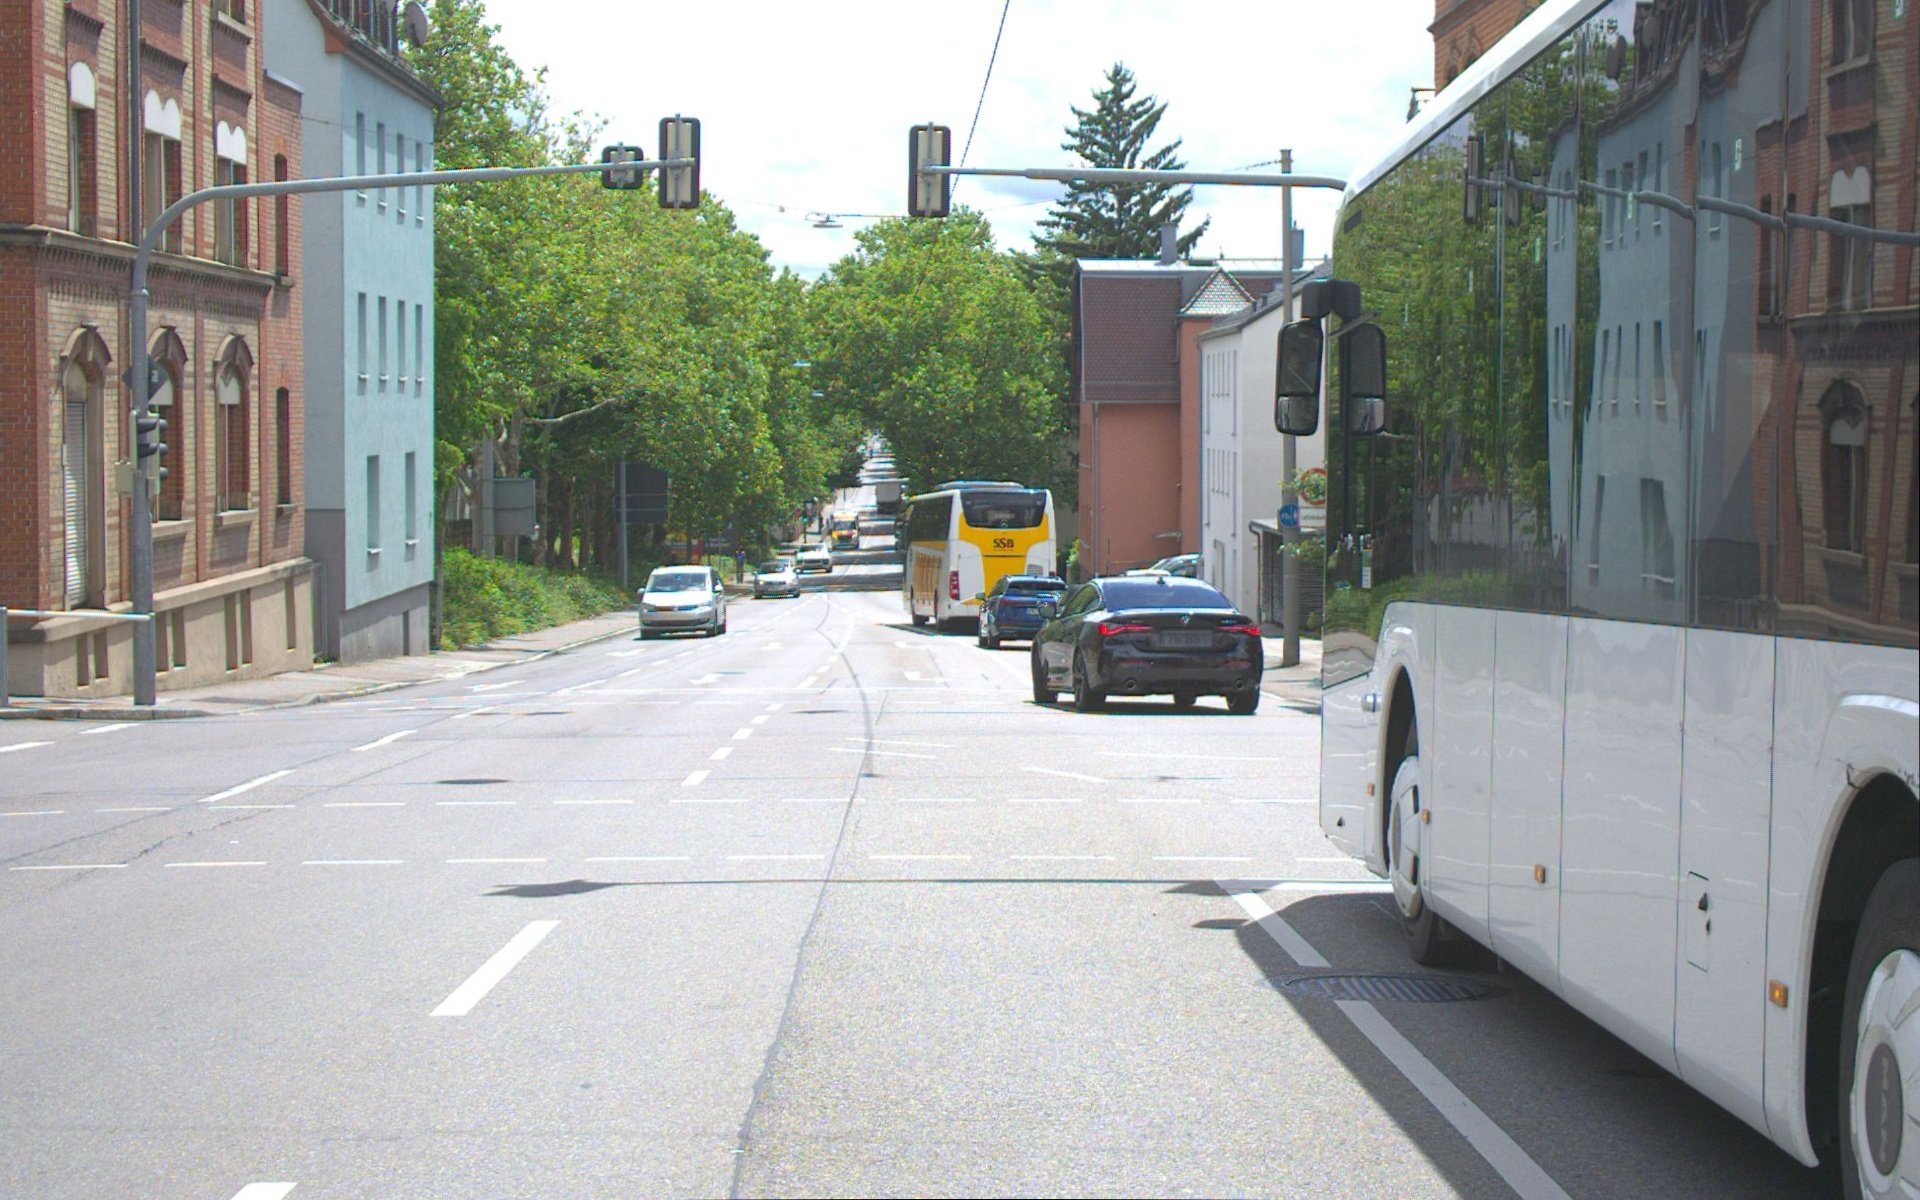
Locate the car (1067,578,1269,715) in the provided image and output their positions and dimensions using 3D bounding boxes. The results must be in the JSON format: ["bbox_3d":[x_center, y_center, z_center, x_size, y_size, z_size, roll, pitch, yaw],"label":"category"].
[{"bbox_3d":[2.103,0.443,35.708,1.797,1.271,4.000,-1,1,-1],"label":"car"}]

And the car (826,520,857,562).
[{"bbox_3d":[-8.834,-4.405,257.042,2.141,3.059,5.627,1,1,-1],"label":"car"}]

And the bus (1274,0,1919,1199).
[{"bbox_3d":[2.967,-0.242,9.268,2.904,3.498,12.488,1,1,-1],"label":"bus"}]

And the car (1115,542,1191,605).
[{"bbox_3d":[5.215,-0.733,93.321,1.767,1.660,4.000,-1,1,-1],"label":"car"}]

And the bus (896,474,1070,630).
[{"bbox_3d":[0.442,-1.211,85.992,3.300,3.618,11.246,-1,1,-5],"label":"bus"}]

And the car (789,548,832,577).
[{"bbox_3d":[-8.375,-2.098,192.943,2.207,1.607,4.547,-1,1,-1],"label":"car"}]

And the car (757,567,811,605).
[{"bbox_3d":[-6.685,-0.549,131.186,1.865,1.363,4.547,-1,1,-1],"label":"car"}]

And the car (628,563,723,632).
[{"bbox_3d":[-6.787,-0.079,82.359,1.935,1.558,4.389,-1,1,-1],"label":"car"}]

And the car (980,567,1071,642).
[{"bbox_3d":[1.234,0.066,66.131,1.608,1.371,4.000,0,1,-1],"label":"car"}]

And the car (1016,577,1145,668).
[{"bbox_3d":[1.902,0.334,55.660,1.865,1.363,4.547,-1,1,-1],"label":"car"}]
